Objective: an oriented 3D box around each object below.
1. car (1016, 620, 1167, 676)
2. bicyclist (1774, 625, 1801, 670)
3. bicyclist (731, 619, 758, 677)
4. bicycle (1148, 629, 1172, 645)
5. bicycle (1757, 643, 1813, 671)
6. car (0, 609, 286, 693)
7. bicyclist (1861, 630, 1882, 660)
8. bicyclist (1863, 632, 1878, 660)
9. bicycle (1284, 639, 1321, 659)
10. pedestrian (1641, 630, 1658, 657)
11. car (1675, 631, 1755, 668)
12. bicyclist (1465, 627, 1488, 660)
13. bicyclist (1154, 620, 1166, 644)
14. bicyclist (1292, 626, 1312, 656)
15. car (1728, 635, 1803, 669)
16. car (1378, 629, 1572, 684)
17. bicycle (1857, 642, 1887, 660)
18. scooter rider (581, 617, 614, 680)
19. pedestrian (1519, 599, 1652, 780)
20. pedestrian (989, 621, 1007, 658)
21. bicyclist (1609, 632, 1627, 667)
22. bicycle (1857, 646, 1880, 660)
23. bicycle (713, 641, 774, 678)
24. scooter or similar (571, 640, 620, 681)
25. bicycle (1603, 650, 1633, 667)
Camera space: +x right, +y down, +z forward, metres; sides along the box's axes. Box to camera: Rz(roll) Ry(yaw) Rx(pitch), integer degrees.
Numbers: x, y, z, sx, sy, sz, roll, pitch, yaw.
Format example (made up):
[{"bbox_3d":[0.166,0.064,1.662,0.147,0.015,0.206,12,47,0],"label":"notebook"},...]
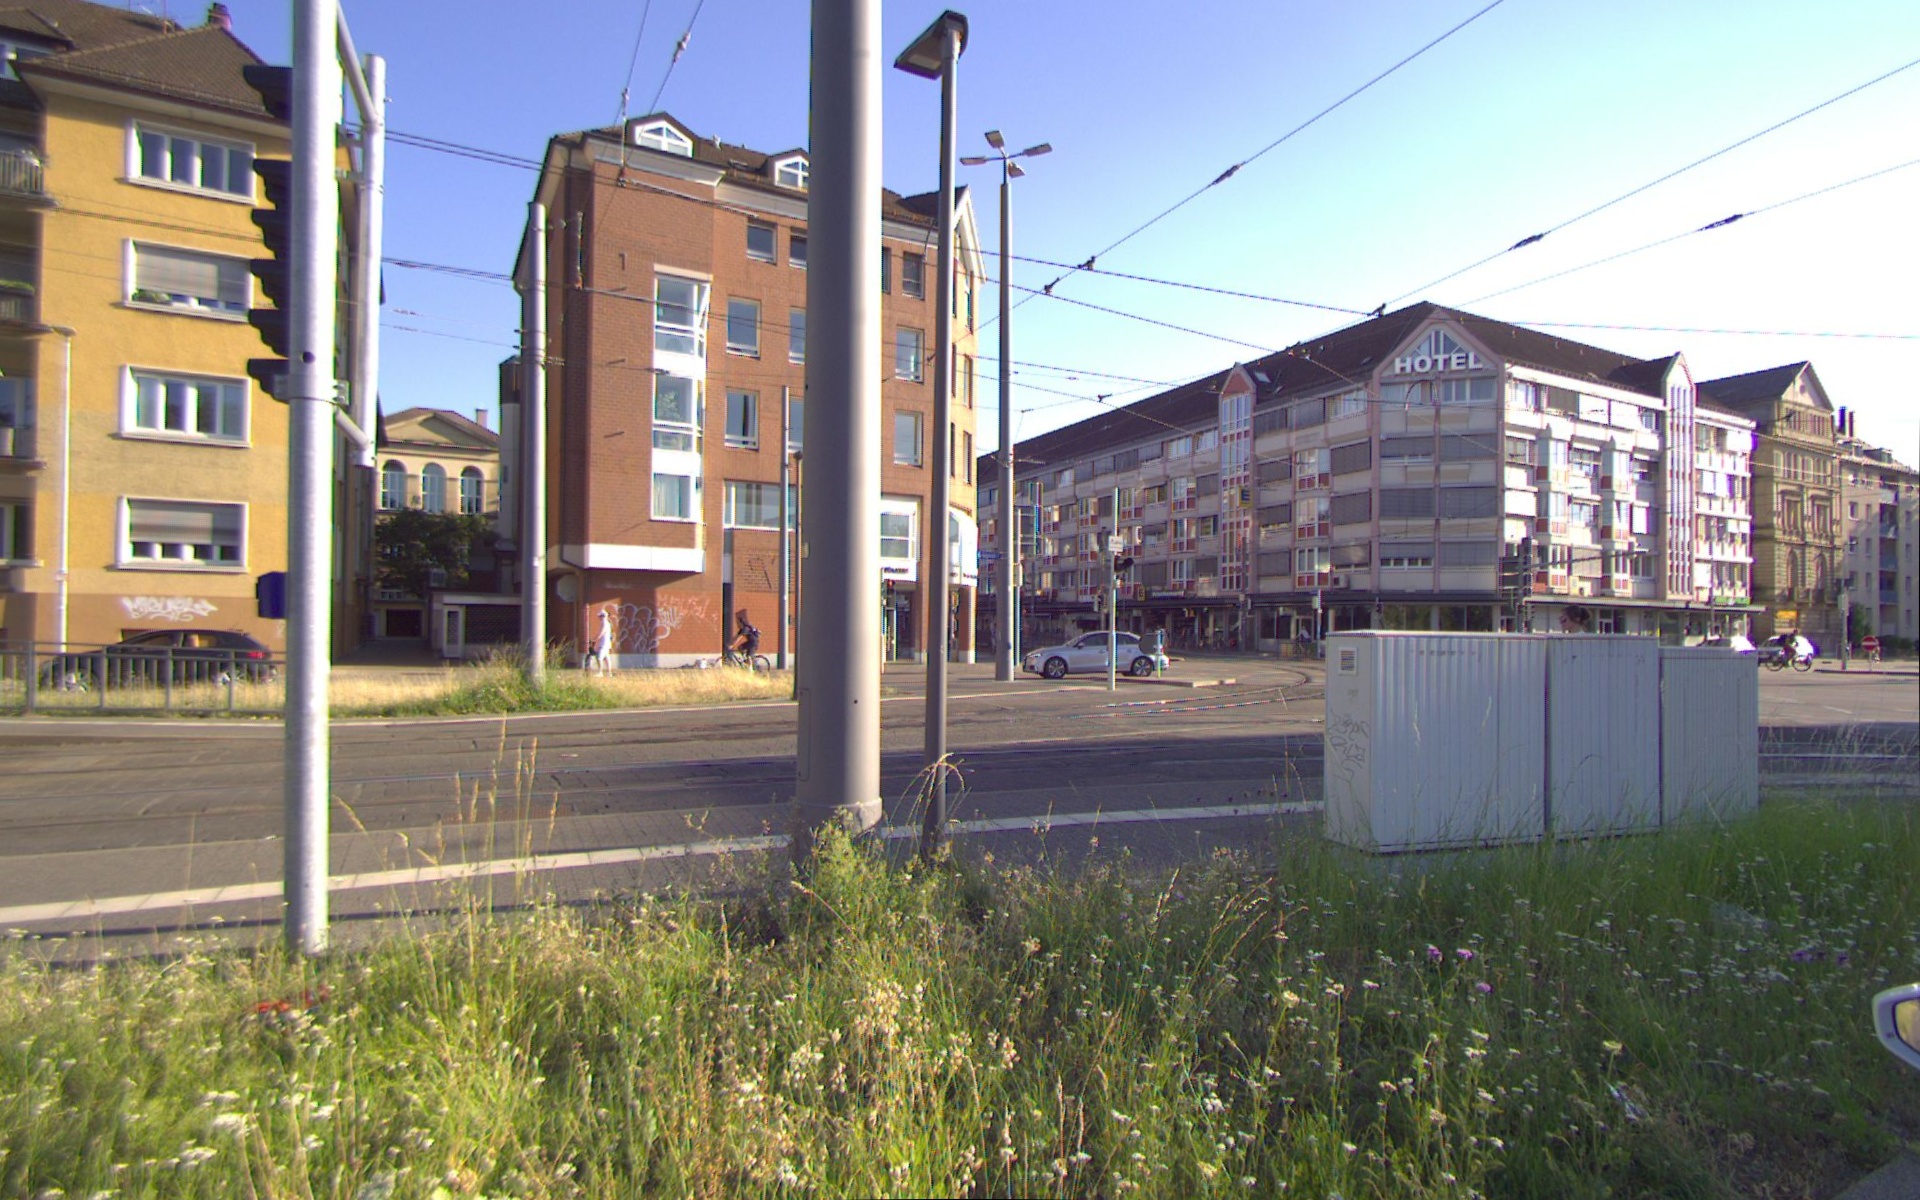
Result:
[{"bbox_3d":[3.912,1.451,30.426,4.261,1.617,2.000,0,-2,-2],"label":"car"},{"bbox_3d":[37.782,2.156,45.842,0.596,2.040,0.775,1,-1,-24],"label":"bicyclist"},{"bbox_3d":[-6.543,1.462,30.534,0.652,1.734,0.539,0,-1,8],"label":"bicyclist"},{"bbox_3d":[14.209,2.615,71.391,0.535,1.073,1.718,2,-2,-39],"label":"bicycle"},{"bbox_3d":[37.721,2.588,45.957,0.601,1.216,1.956,1,-1,-24],"label":"bicycle"},{"bbox_3d":[-17.265,1.060,21.468,4.731,1.617,1.981,2,-2,-35],"label":"car"},{"bbox_3d":[62.810,3.079,69.229,0.807,2.040,0.823,1,-1,-27],"label":"bicyclist"},{"bbox_3d":[62.667,3.174,69.152,0.634,1.886,0.590,1,-2,-28],"label":"bicyclist"},{"bbox_3d":[20.140,2.870,59.130,0.651,1.152,2.081,1,-2,-33],"label":"bicycle"},{"bbox_3d":[42.369,2.681,61.764,0.695,1.626,0.623,1,-1,-28],"label":"pedestrian"},{"bbox_3d":[40.853,2.662,54.350,3.949,1.884,1.986,1,-2,-28],"label":"car"},{"bbox_3d":[27.678,2.316,53.871,0.643,1.776,0.893,1,-2,-33],"label":"bicyclist"},{"bbox_3d":[14.236,2.275,71.369,0.534,1.734,0.658,2,-2,-39],"label":"bicyclist"},{"bbox_3d":[20.130,2.419,59.161,0.648,1.776,0.893,1,-2,-33],"label":"bicyclist"},{"bbox_3d":[46.938,3.018,58.545,3.949,1.884,1.986,1,-2,-28],"label":"car"},{"bbox_3d":[15.274,1.641,30.065,4.836,1.498,2.001,0,-1,15],"label":"car"},{"bbox_3d":[62.863,3.502,69.250,2.215,1.210,0.815,1,-1,-27],"label":"bicycle"},{"bbox_3d":[-10.062,1.344,27.897,0.652,1.734,0.527,0,-2,13],"label":"scooter rider"},{"bbox_3d":[5.929,0.818,9.547,0.647,1.618,0.874,1,-2,-30],"label":"pedestrian"},{"bbox_3d":[2.127,2.180,55.968,0.713,2.040,0.712,1,-1,-26],"label":"pedestrian"},{"bbox_3d":[36.008,2.703,54.953,0.634,1.886,0.590,1,-2,-28],"label":"bicyclist"},{"bbox_3d":[62.468,3.651,69.029,1.813,0.927,0.596,1,-2,-28],"label":"bicycle"},{"bbox_3d":[-6.575,1.788,30.538,1.745,1.086,0.535,0,-2,8],"label":"bicycle"},{"bbox_3d":[-10.117,1.674,27.897,1.151,1.086,0.530,0,-2,13],"label":"scooter or similar"},{"bbox_3d":[35.896,3.190,54.799,1.813,0.927,0.596,1,-2,-28],"label":"bicycle"}]
